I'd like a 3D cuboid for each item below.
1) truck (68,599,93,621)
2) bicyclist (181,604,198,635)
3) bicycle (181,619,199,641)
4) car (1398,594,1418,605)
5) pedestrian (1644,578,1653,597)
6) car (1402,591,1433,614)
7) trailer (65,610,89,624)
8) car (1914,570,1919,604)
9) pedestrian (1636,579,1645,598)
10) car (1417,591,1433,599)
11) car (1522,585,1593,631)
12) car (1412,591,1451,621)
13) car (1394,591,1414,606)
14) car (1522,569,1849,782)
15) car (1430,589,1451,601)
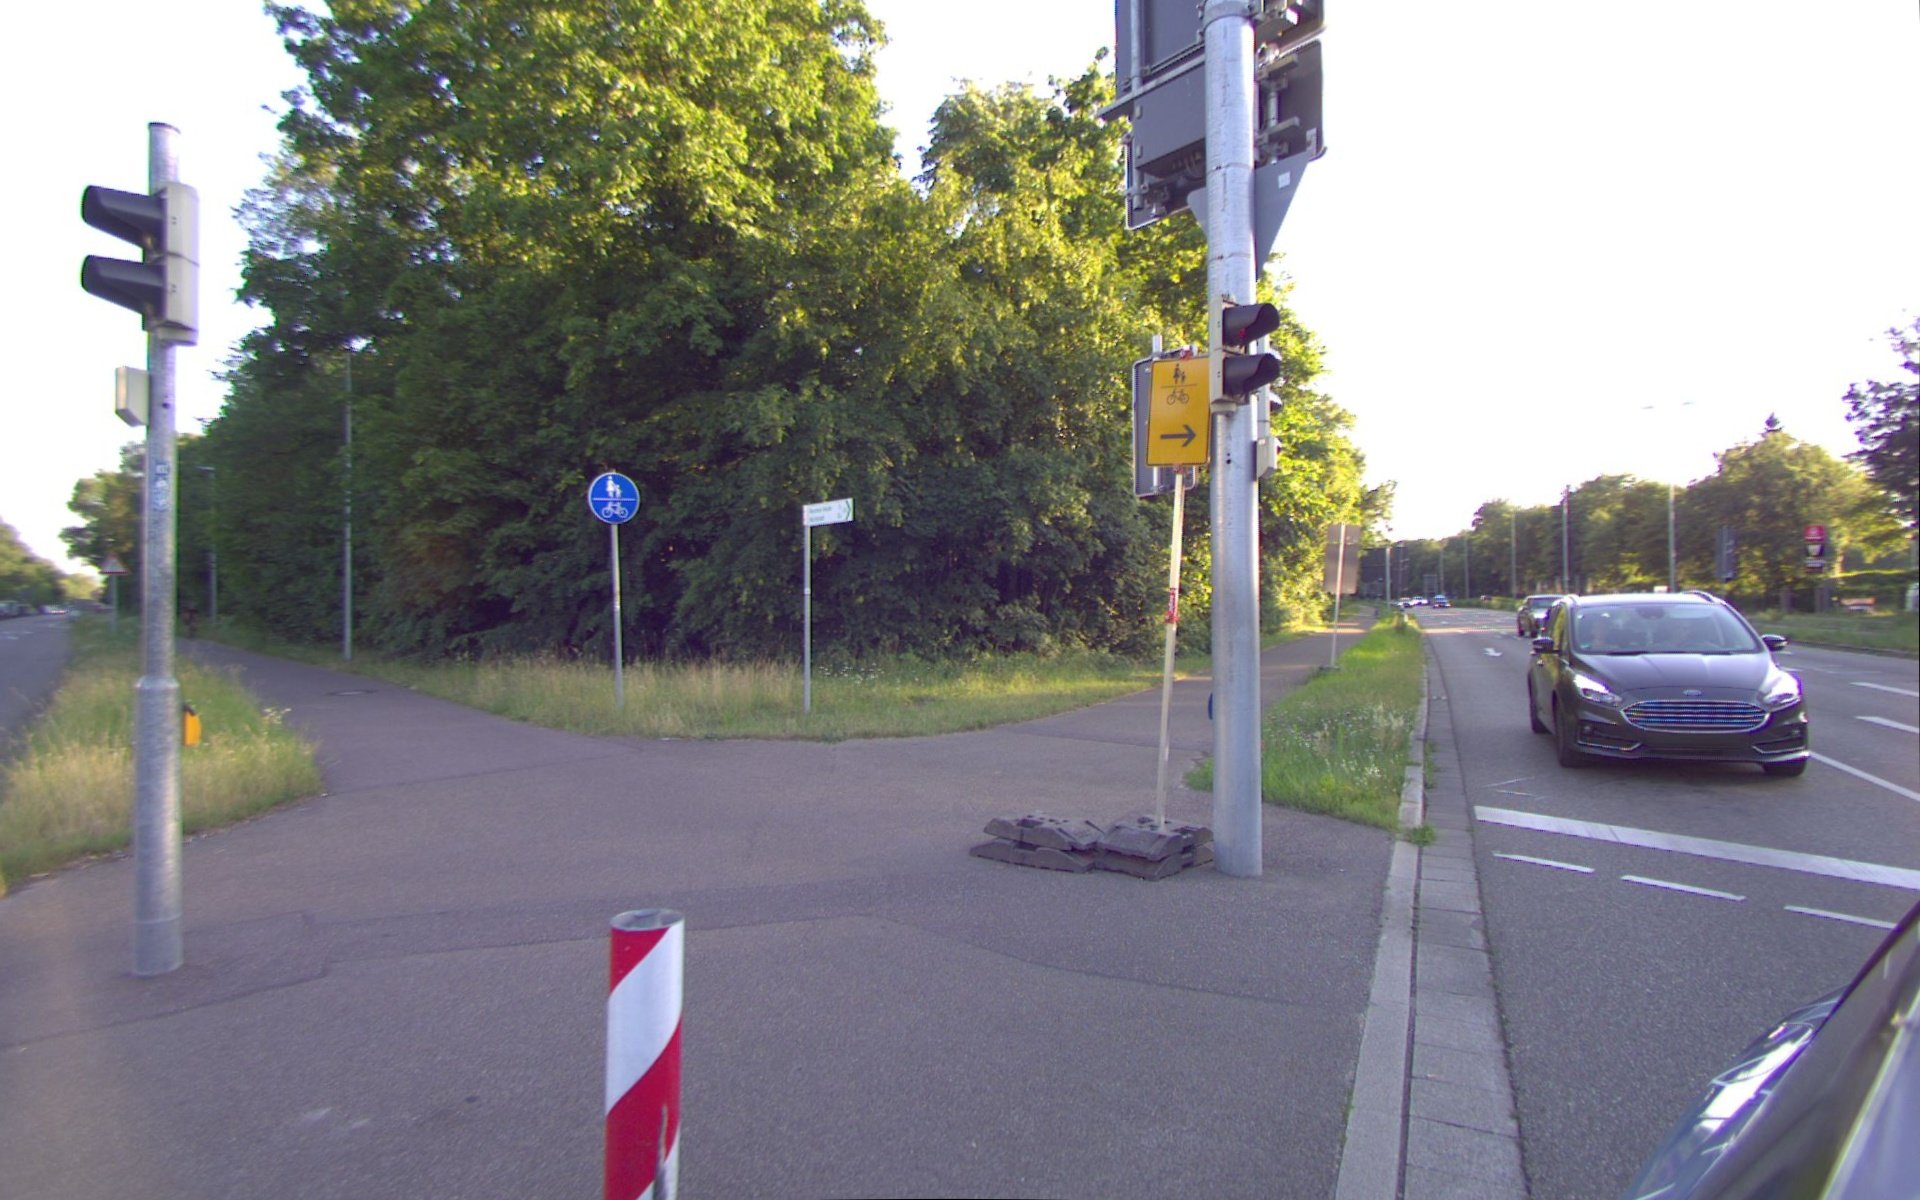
[{"bbox_3d":[-133.706,1.582,153.907,2.550,3.297,7.211,1,-1,-39],"label":"truck"},{"bbox_3d":[-36.548,0.915,47.978,0.594,1.473,0.778,-1,0,-40],"label":"bicyclist"},{"bbox_3d":[-36.456,1.393,47.897,0.602,1.008,1.688,-1,0,-40],"label":"bicycle"},{"bbox_3d":[62.472,-0.019,141.242,1.845,1.423,4.056,-3,-1,15],"label":"car"},{"bbox_3d":[66.650,-1.174,97.940,0.562,1.797,0.670,-3,-1,27],"label":"pedestrian"},{"bbox_3d":[34.883,0.168,77.097,1.979,1.645,4.358,-2,-1,26],"label":"car"},{"bbox_3d":[-112.779,2.122,129.343,1.431,1.683,3.782,-2,0,-27],"label":"trailer"},{"bbox_3d":[55.084,-0.756,55.265,3.961,1.888,1.808,-1,0,27],"label":"car"},{"bbox_3d":[66.036,-1.133,98.269,0.562,1.768,0.670,-3,-1,27],"label":"pedestrian"},{"bbox_3d":[74.781,-0.784,162.819,1.722,1.304,3.724,-1,0,17],"label":"car"},{"bbox_3d":[23.684,0.291,40.260,1.979,1.645,4.358,-2,-1,26],"label":"car"},{"bbox_3d":[27.865,0.349,59.790,1.979,1.645,4.358,-2,-1,26],"label":"car"},{"bbox_3d":[53.225,-0.227,121.202,1.979,1.645,4.358,-2,-1,26],"label":"car"},{"bbox_3d":[7.179,0.612,10.601,1.993,1.682,4.776,-2,-1,27],"label":"car"},{"bbox_3d":[62.313,-0.671,131.338,1.847,1.423,4.052,-3,-1,18],"label":"car"}]
